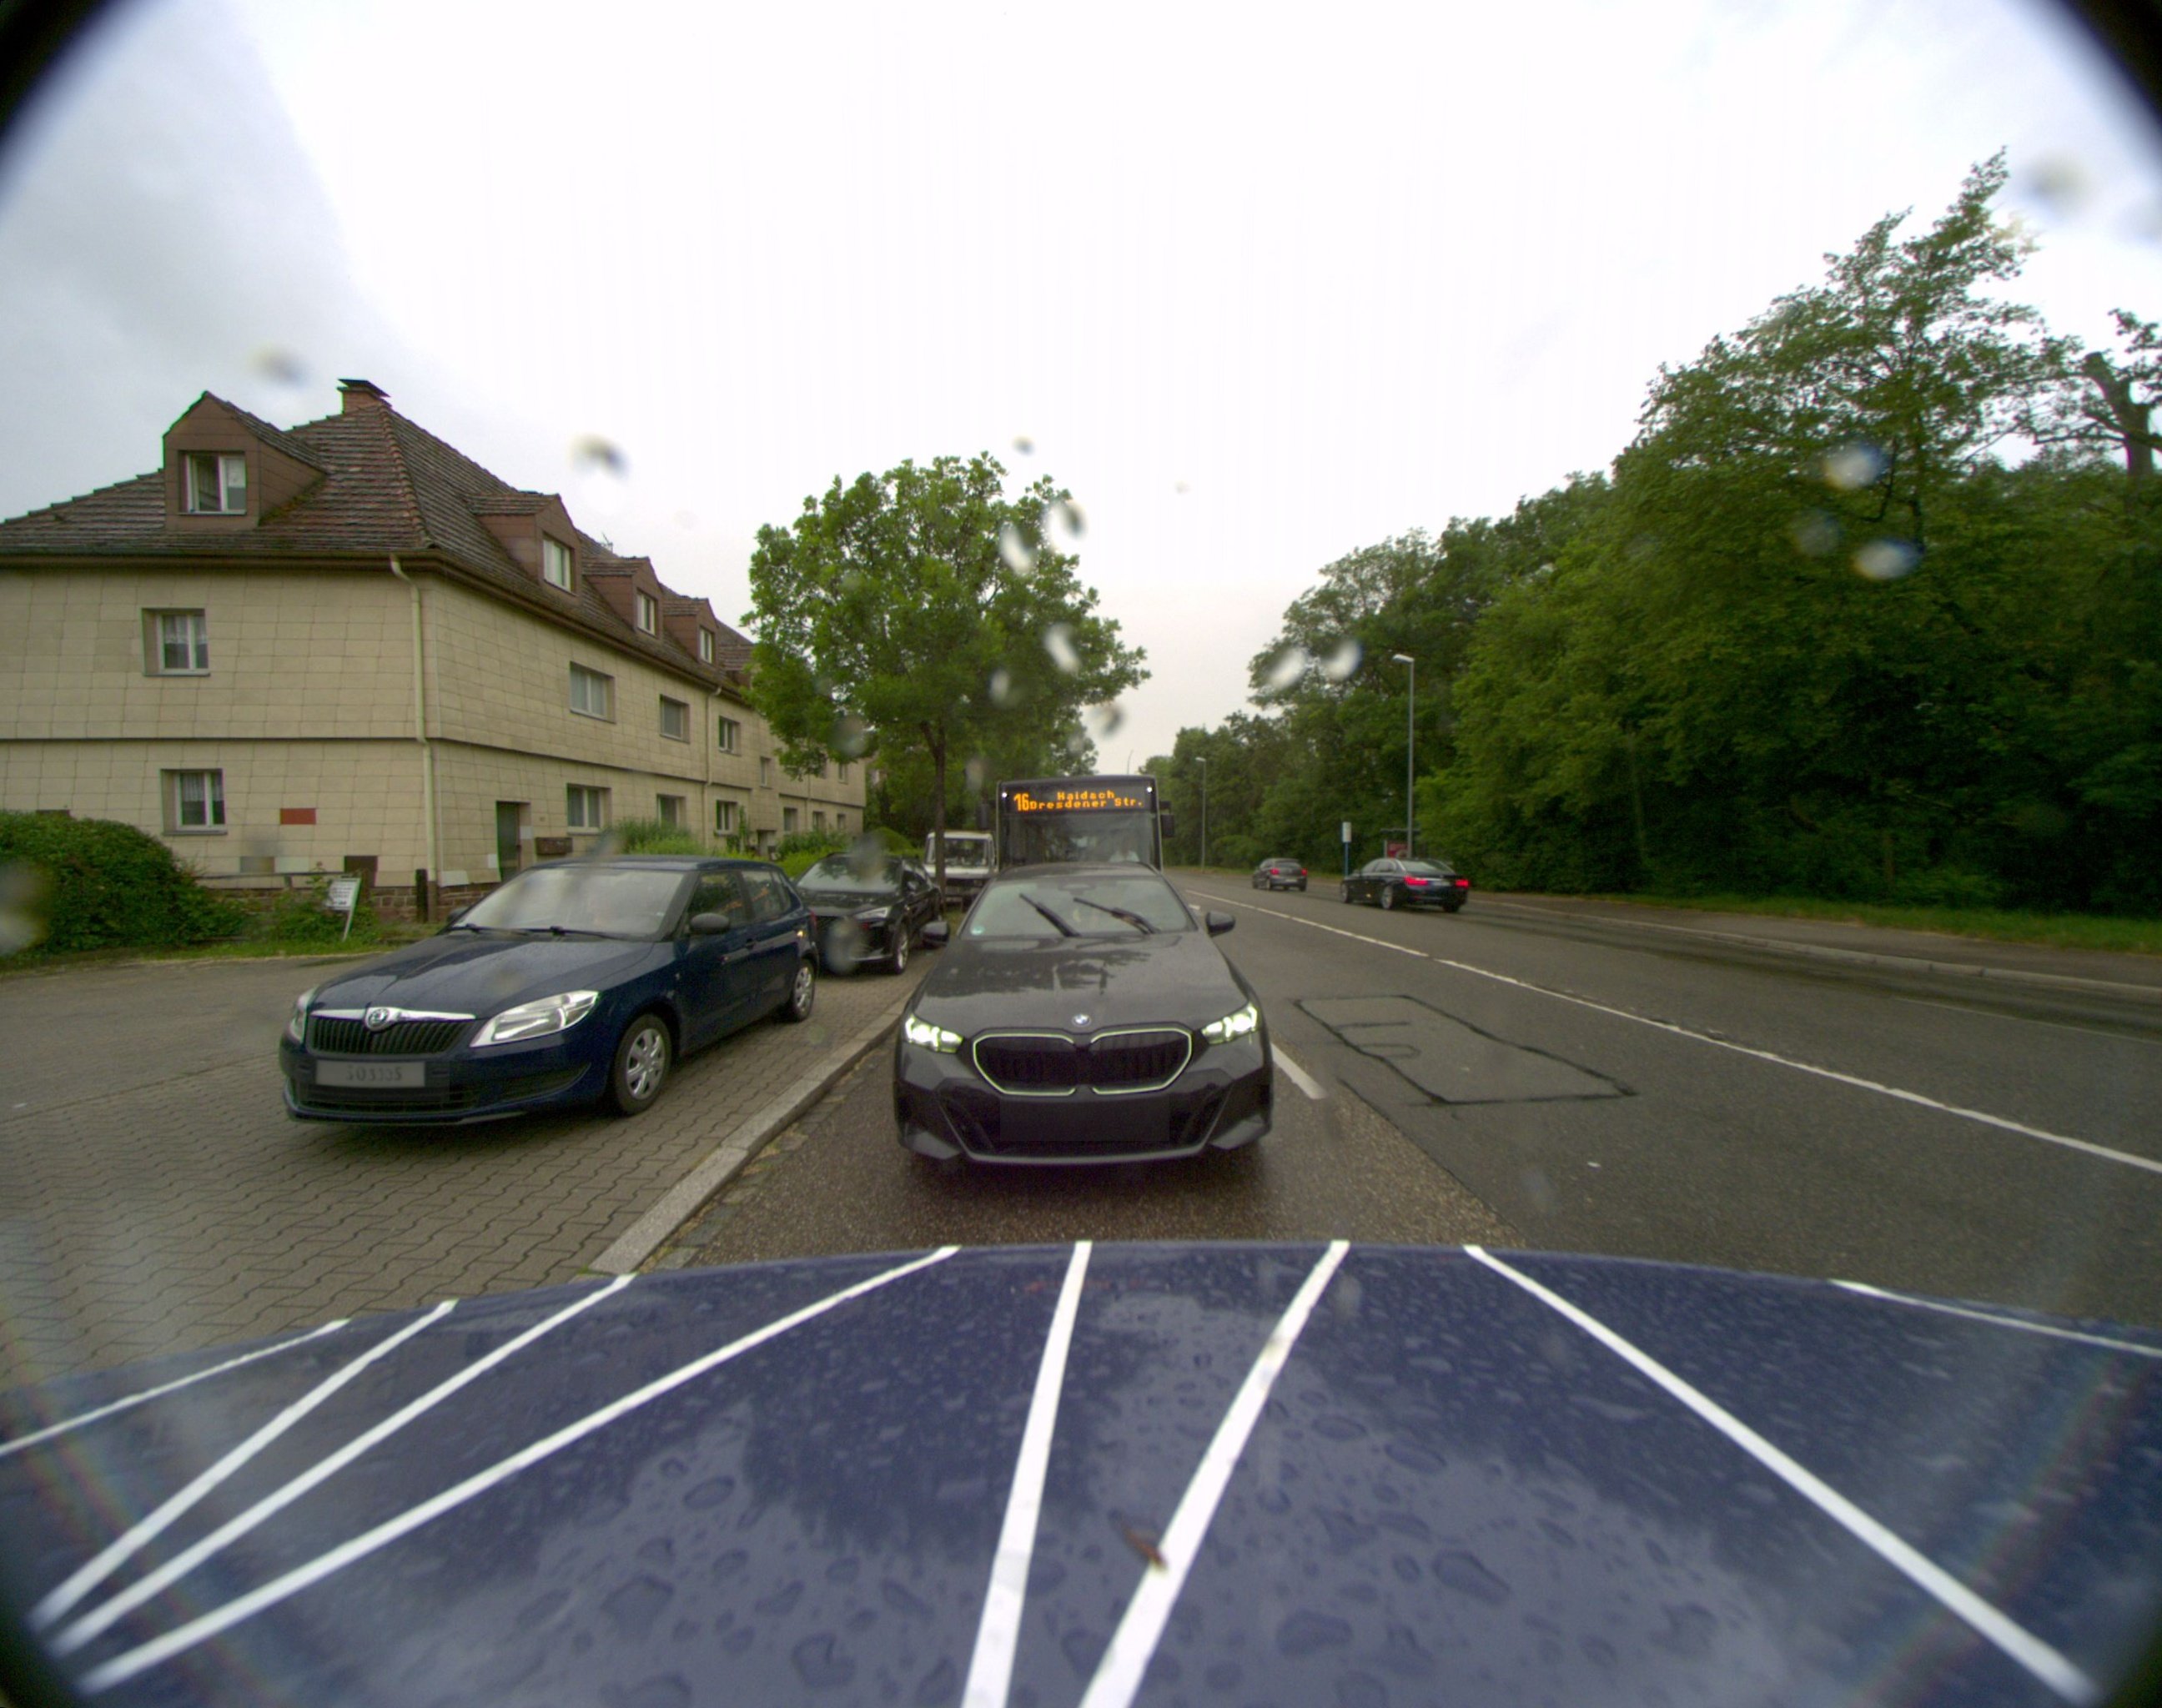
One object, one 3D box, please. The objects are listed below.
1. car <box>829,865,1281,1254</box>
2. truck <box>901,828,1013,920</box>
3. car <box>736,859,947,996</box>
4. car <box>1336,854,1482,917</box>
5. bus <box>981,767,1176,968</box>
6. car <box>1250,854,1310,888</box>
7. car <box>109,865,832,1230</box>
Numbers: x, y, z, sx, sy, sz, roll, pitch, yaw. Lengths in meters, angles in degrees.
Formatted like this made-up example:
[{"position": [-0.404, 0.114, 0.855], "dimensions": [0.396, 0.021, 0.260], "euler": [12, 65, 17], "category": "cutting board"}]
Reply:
[{"position": [-0.085, 0.928, 5.451], "dimensions": [1.882, 1.520, 4.316], "euler": [-3, 0, 1], "category": "car"}, {"position": [-3.220, 0.480, 20.972], "dimensions": [1.998, 2.184, 5.756], "euler": [0, 0, 2], "category": "truck"}, {"position": [-3.072, 0.850, 10.646], "dimensions": [1.720, 1.455, 3.999], "euler": [1, 1, -1], "category": "car"}, {"position": [9.174, 0.802, 21.814], "dimensions": [1.915, 1.445, 4.947], "euler": [3, 1, -1], "category": "car"}, {"position": [0.091, 0.146, 15.872], "dimensions": [2.767, 2.858, 9.403], "euler": [-2, 1, 2], "category": "bus"}, {"position": [8.954, 0.747, 34.510], "dimensions": [1.598, 1.420, 3.905], "euler": [1, 0, -1], "category": "car"}, {"position": [-3.266, 0.858, 5.241], "dimensions": [1.720, 1.416, 3.999], "euler": [1, 1, 1], "category": "car"}]
